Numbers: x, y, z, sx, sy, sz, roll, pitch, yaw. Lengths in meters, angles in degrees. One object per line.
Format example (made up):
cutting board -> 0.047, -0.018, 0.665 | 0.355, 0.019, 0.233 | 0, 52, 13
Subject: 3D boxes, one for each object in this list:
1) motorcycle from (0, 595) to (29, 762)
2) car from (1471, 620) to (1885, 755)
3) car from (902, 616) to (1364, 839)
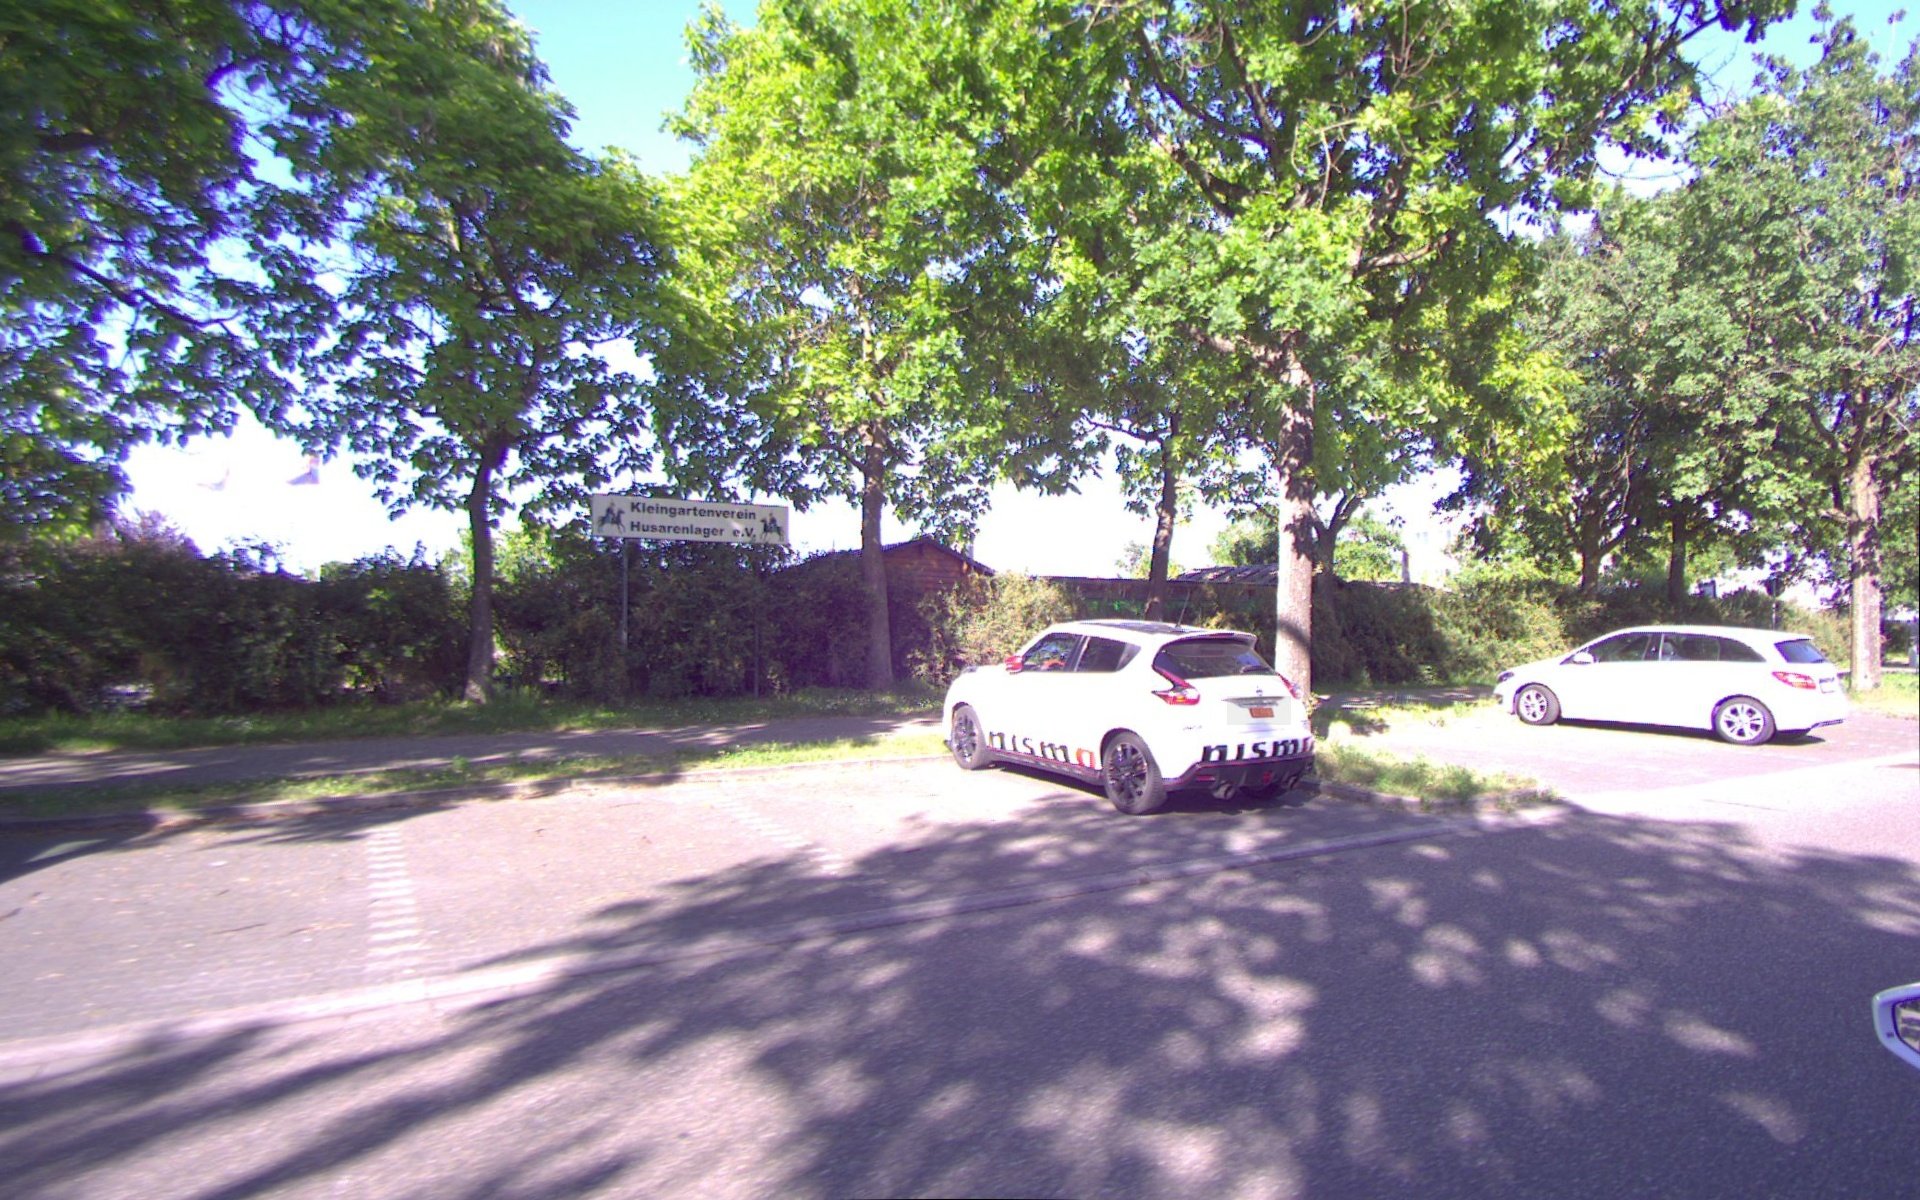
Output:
motorcycle -> -9.519, 0.679, 8.725 | 1.968, 1.452, 0.734 | 1, 2, -30
car -> 10.483, 1.138, 15.045 | 2.169, 1.579, 4.597 | 1, 0, -34
car -> 1.360, 0.962, 9.702 | 2.064, 1.531, 4.390 | 1, 0, -31
